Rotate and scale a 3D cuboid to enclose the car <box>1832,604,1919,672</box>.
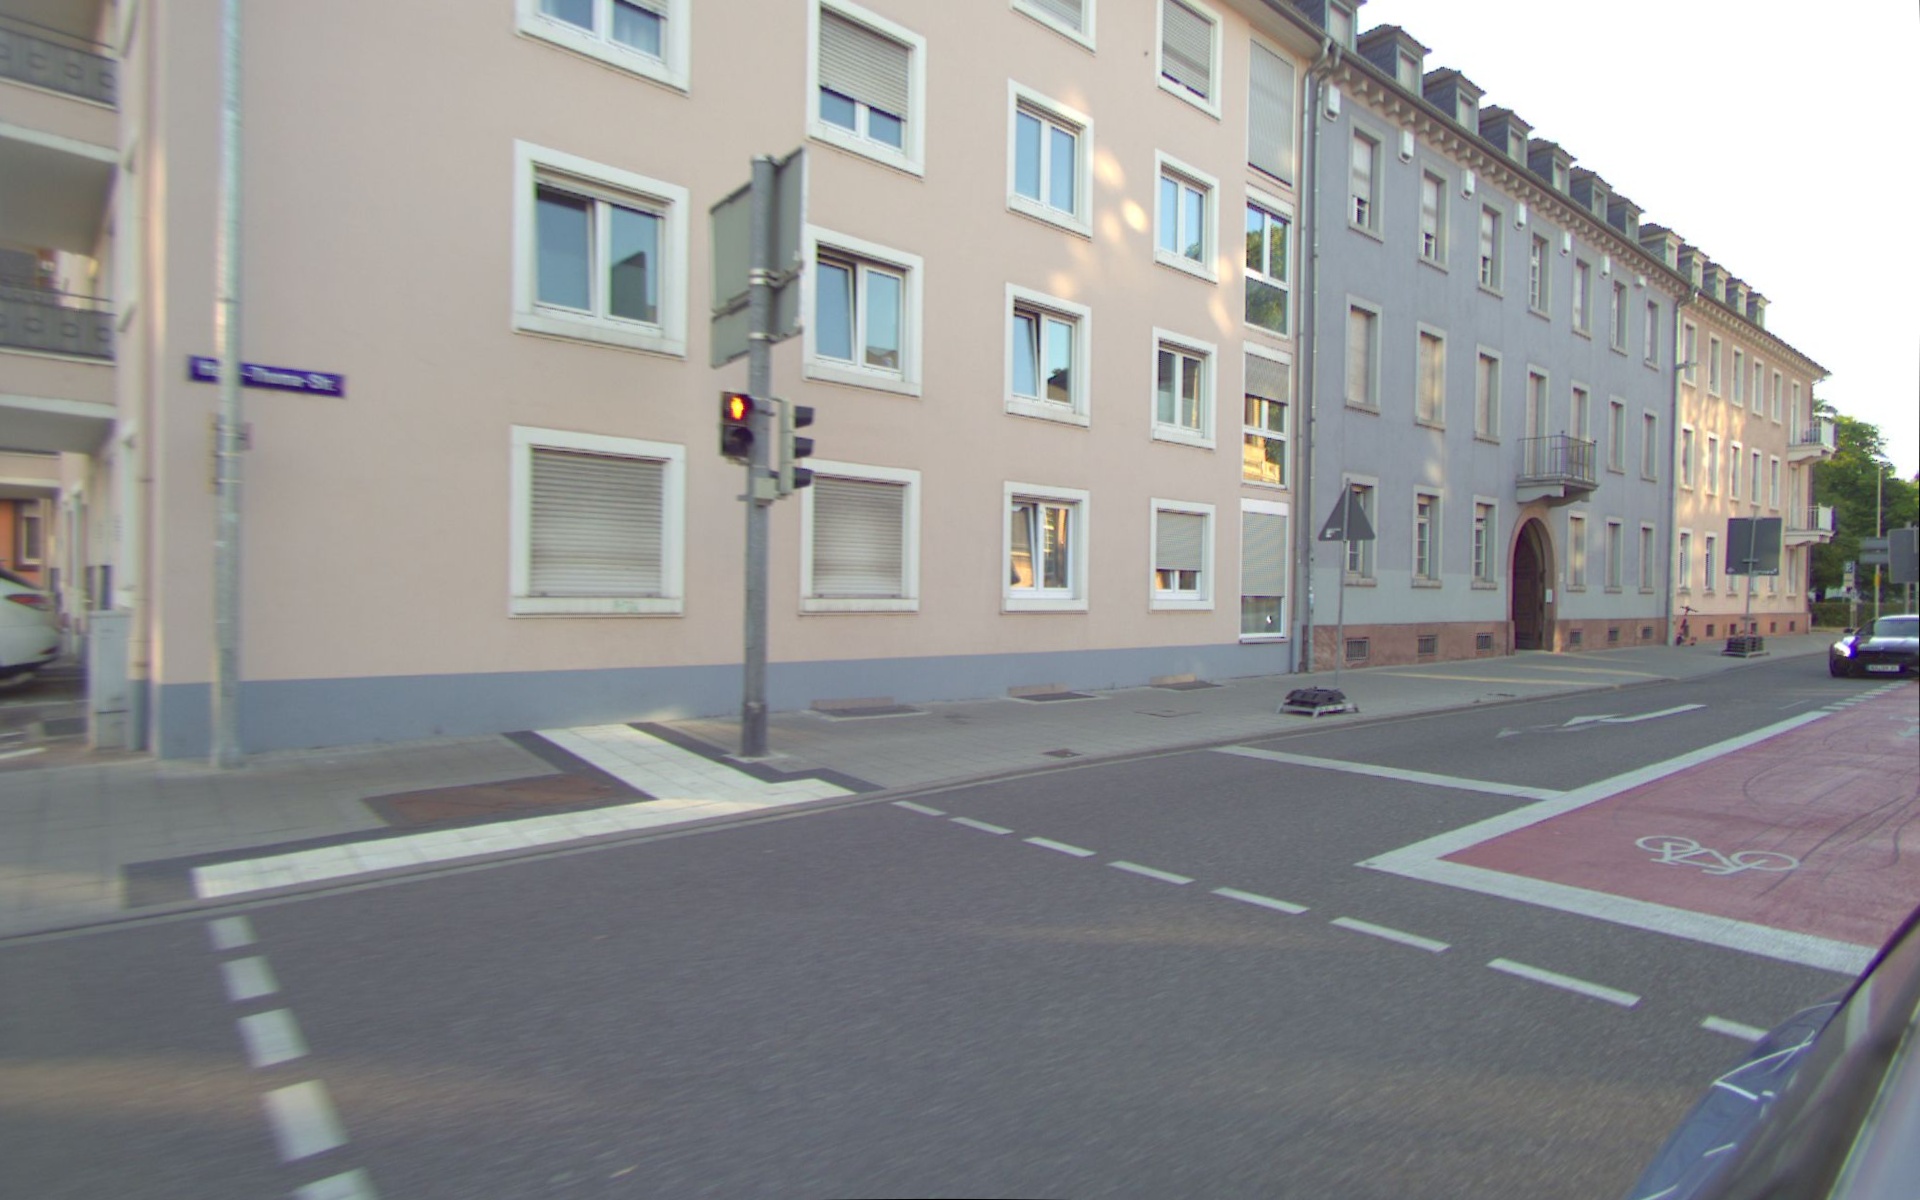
[{"bbox_3d":[20.401,0.757,21.529,4.281,1.317,2.182,0,-1,-41],"label":"car"}]

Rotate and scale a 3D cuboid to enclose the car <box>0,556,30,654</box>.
[{"bbox_3d":[-17.283,0.121,15.802,3.990,1.565,2.007,-3,3,-44],"label":"car"}]

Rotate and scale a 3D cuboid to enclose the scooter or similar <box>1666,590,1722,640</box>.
[{"bbox_3d":[22.752,0.446,31.365,1.638,1.476,0.729,0,3,-30],"label":"scooter or similar"}]

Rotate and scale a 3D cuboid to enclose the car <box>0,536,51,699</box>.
[{"bbox_3d":[-12.434,0.182,10.511,4.401,1.772,1.995,0,1,-44],"label":"car"}]
